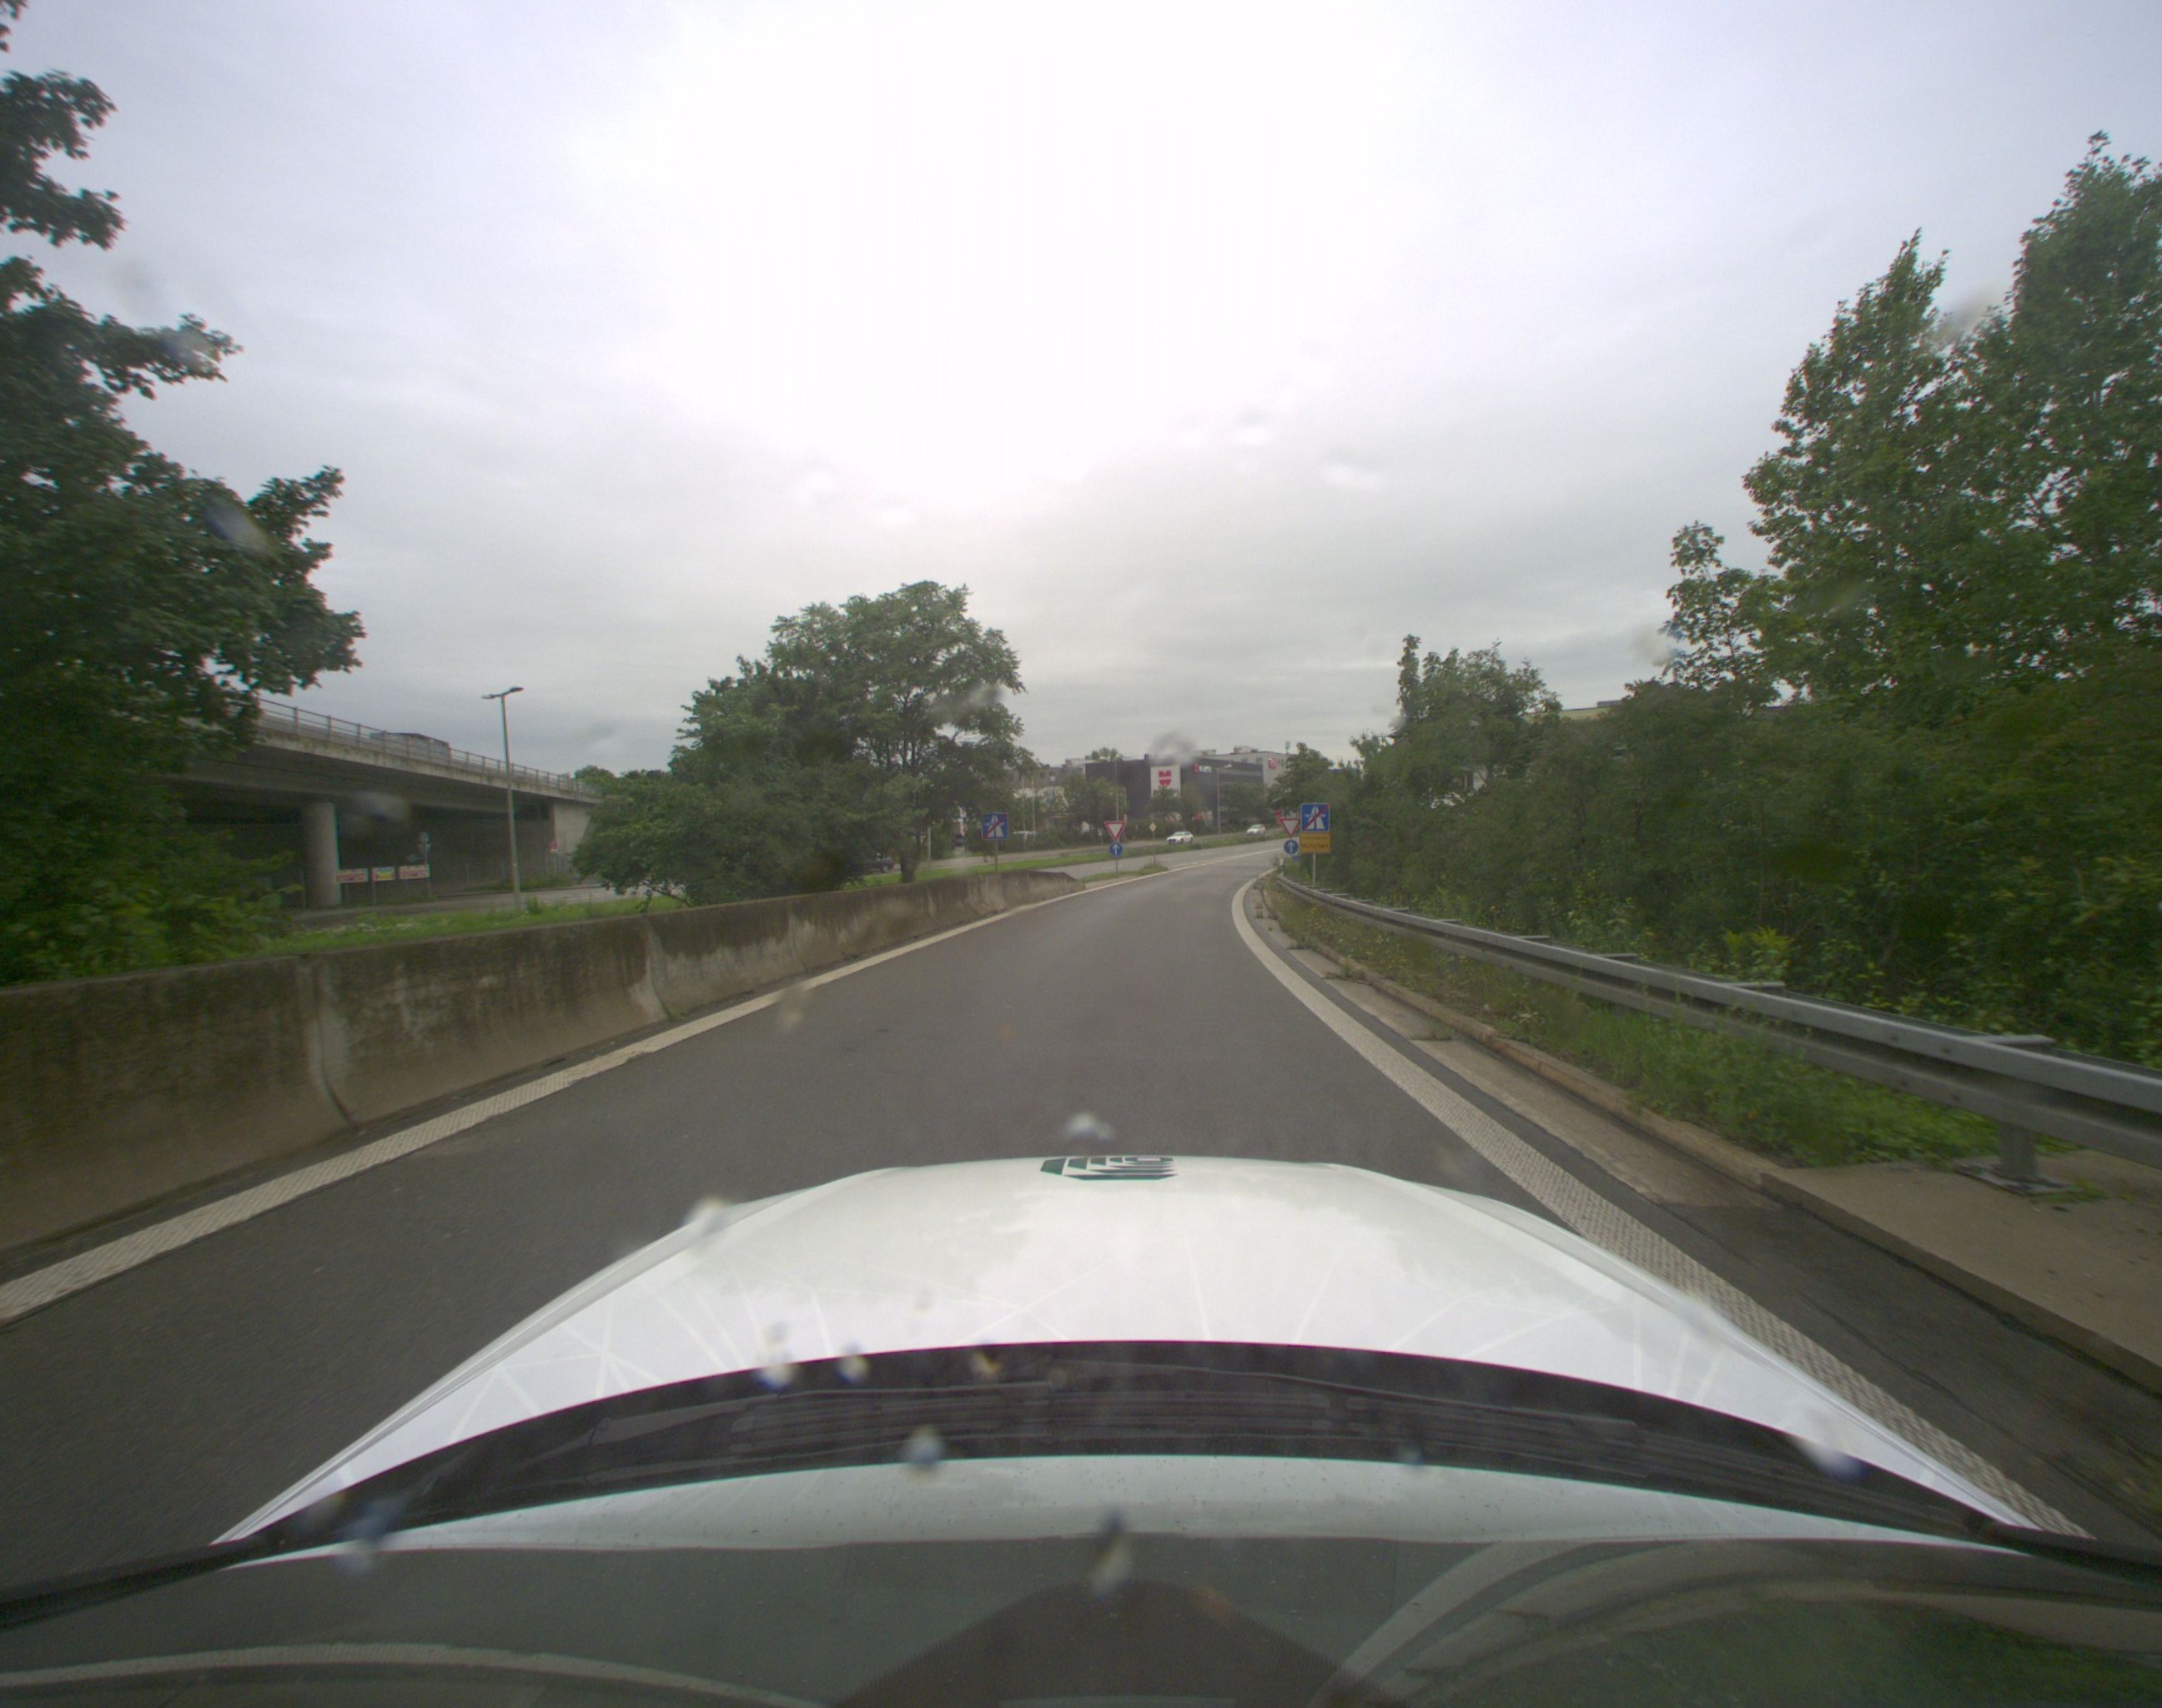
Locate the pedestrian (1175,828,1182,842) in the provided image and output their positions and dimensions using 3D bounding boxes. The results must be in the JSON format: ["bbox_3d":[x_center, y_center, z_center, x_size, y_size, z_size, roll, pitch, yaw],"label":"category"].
[{"bbox_3d":[13.700,-2.661,114.710,0.616,1.829,0.822,-1,3,31],"label":"pedestrian"}]

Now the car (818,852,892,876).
[{"bbox_3d":[-15.711,0.669,56.929,1.950,1.396,4.848,-2,1,32],"label":"car"}]

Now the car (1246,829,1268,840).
[{"bbox_3d":[27.171,-3.036,125.677,1.974,1.572,4.604,-1,2,31],"label":"car"}]

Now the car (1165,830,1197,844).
[{"bbox_3d":[12.507,-2.119,102.007,1.974,1.572,5.152,-1,2,31],"label":"car"}]

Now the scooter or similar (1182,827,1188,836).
[{"bbox_3d":[15.083,-3.299,117.955,0.441,1.227,1.396,0,3,30],"label":"scooter or similar"}]
